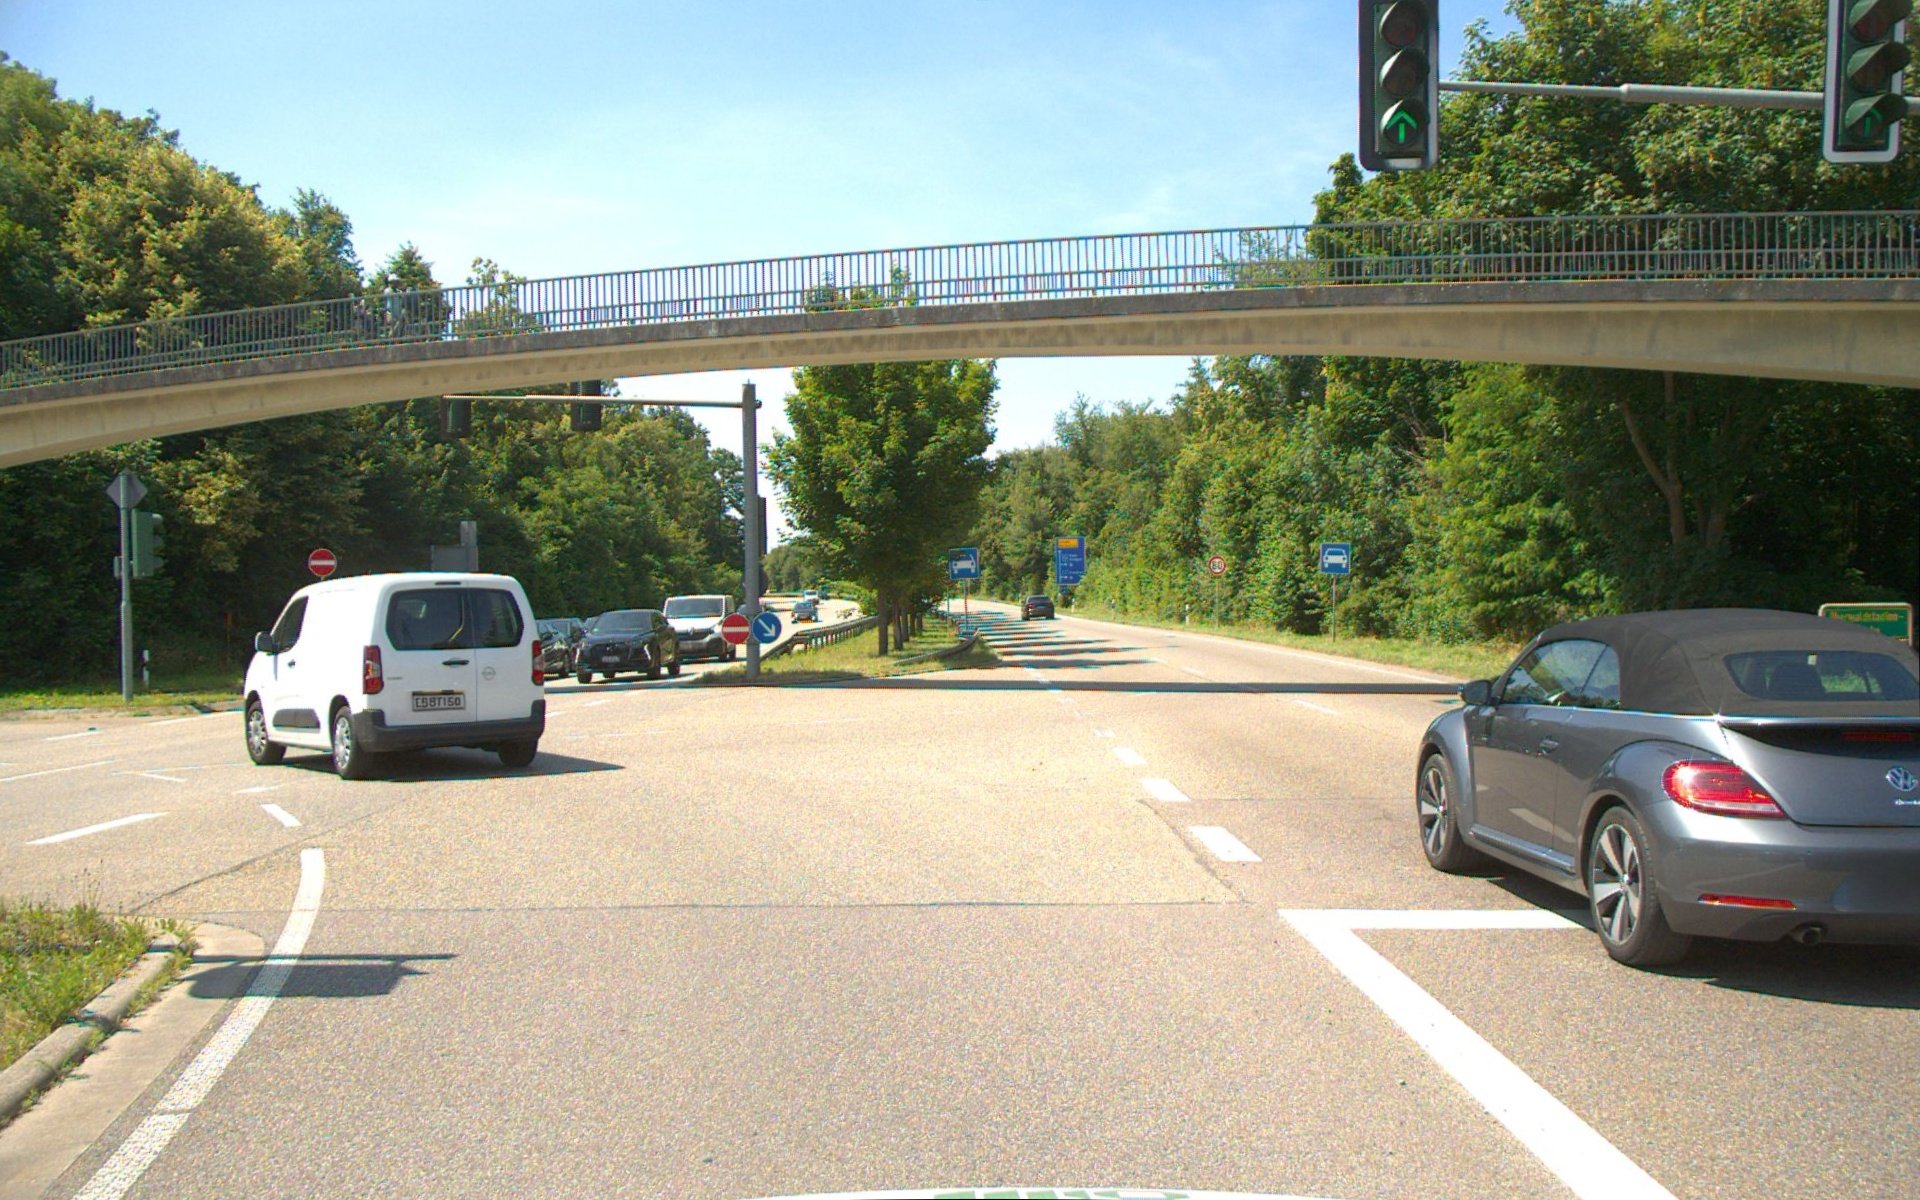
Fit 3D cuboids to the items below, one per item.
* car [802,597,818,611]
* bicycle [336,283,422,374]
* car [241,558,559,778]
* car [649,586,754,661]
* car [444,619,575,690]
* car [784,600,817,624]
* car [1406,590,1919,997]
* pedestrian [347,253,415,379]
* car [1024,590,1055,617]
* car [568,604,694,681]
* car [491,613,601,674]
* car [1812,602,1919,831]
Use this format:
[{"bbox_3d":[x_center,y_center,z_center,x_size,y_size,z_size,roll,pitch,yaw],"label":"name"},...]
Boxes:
[{"bbox_3d":[-19.225,0.543,211.574,1.955,1.780,3.994,0,-1,-6],"label":"car"},{"bbox_3d":[-10.985,-5.117,31.276,1.494,1.500,0.470,-3,-2,16],"label":"bicycle"},{"bbox_3d":[-5.555,0.646,16.099,1.835,1.858,3.929,0,-2,-36],"label":"car"},{"bbox_3d":[-7.580,0.664,49.093,2.163,2.028,5.488,-2,0,0],"label":"car"},{"bbox_3d":[-10.747,1.271,39.750,1.967,1.486,4.055,-3,0,0],"label":"car"},{"bbox_3d":[-11.837,0.867,123.131,1.967,1.629,4.055,-3,0,0],"label":"car"},{"bbox_3d":[3.652,0.719,8.109,1.861,1.503,3.939,0,0,0],"label":"car"},{"bbox_3d":[-11.032,-5.396,31.544,0.765,2.177,0.932,-3,-2,16],"label":"pedestrian"},{"bbox_3d":[5.395,0.197,112.514,1.999,1.728,5.088,-1,0,3],"label":"car"},{"bbox_3d":[-7.277,0.908,36.917,1.953,1.550,4.027,-2,0,0],"label":"car"},{"bbox_3d":[-11.328,1.170,45.516,1.967,1.486,4.055,-3,0,0],"label":"car"},{"bbox_3d":[7.245,0.775,10.076,1.861,1.503,4.380,0,0,0],"label":"car"}]
